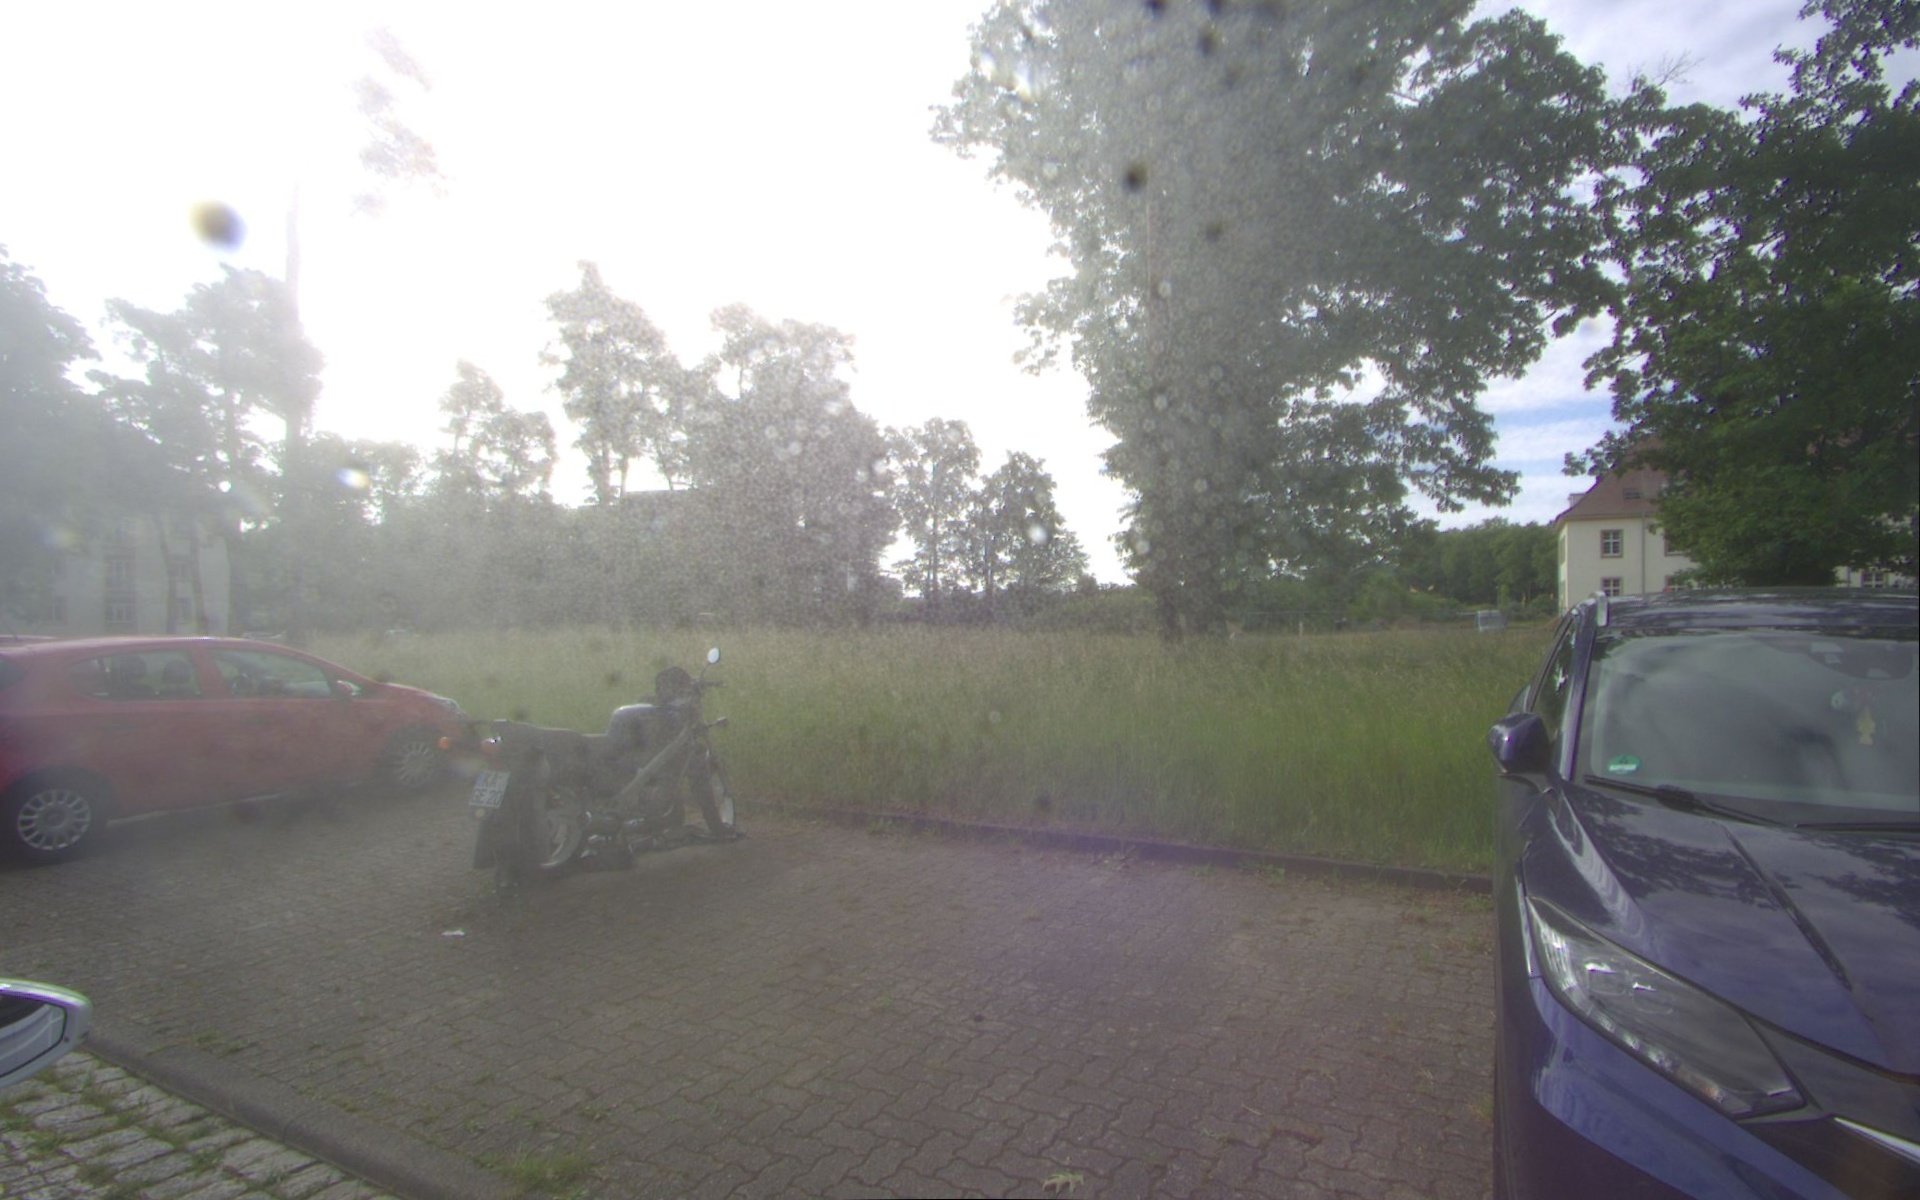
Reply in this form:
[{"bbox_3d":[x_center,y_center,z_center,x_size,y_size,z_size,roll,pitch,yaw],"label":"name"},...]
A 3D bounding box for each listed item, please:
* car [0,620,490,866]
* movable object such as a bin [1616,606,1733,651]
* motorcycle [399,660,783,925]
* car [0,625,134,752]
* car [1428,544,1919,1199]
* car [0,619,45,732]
[{"bbox_3d":[-6.115,0.961,8.176,1.752,1.479,3.821,-1,0,28],"label":"car"},{"bbox_3d":[45.242,1.823,63.515,5.906,2.689,2.160,-2,-2,39],"label":"movable object such as a bin"},{"bbox_3d":[-2.125,1.032,6.212,0.783,1.201,2.326,-1,0,26],"label":"motorcycle"},{"bbox_3d":[-12.561,1.104,11.964,1.725,1.479,3.787,-1,0,29],"label":"car"},{"bbox_3d":[2.569,0.743,3.060,1.766,1.591,4.158,-2,-2,29],"label":"car"},{"bbox_3d":[-14.929,1.089,13.079,1.723,1.573,4.026,-1,0,27],"label":"car"}]
